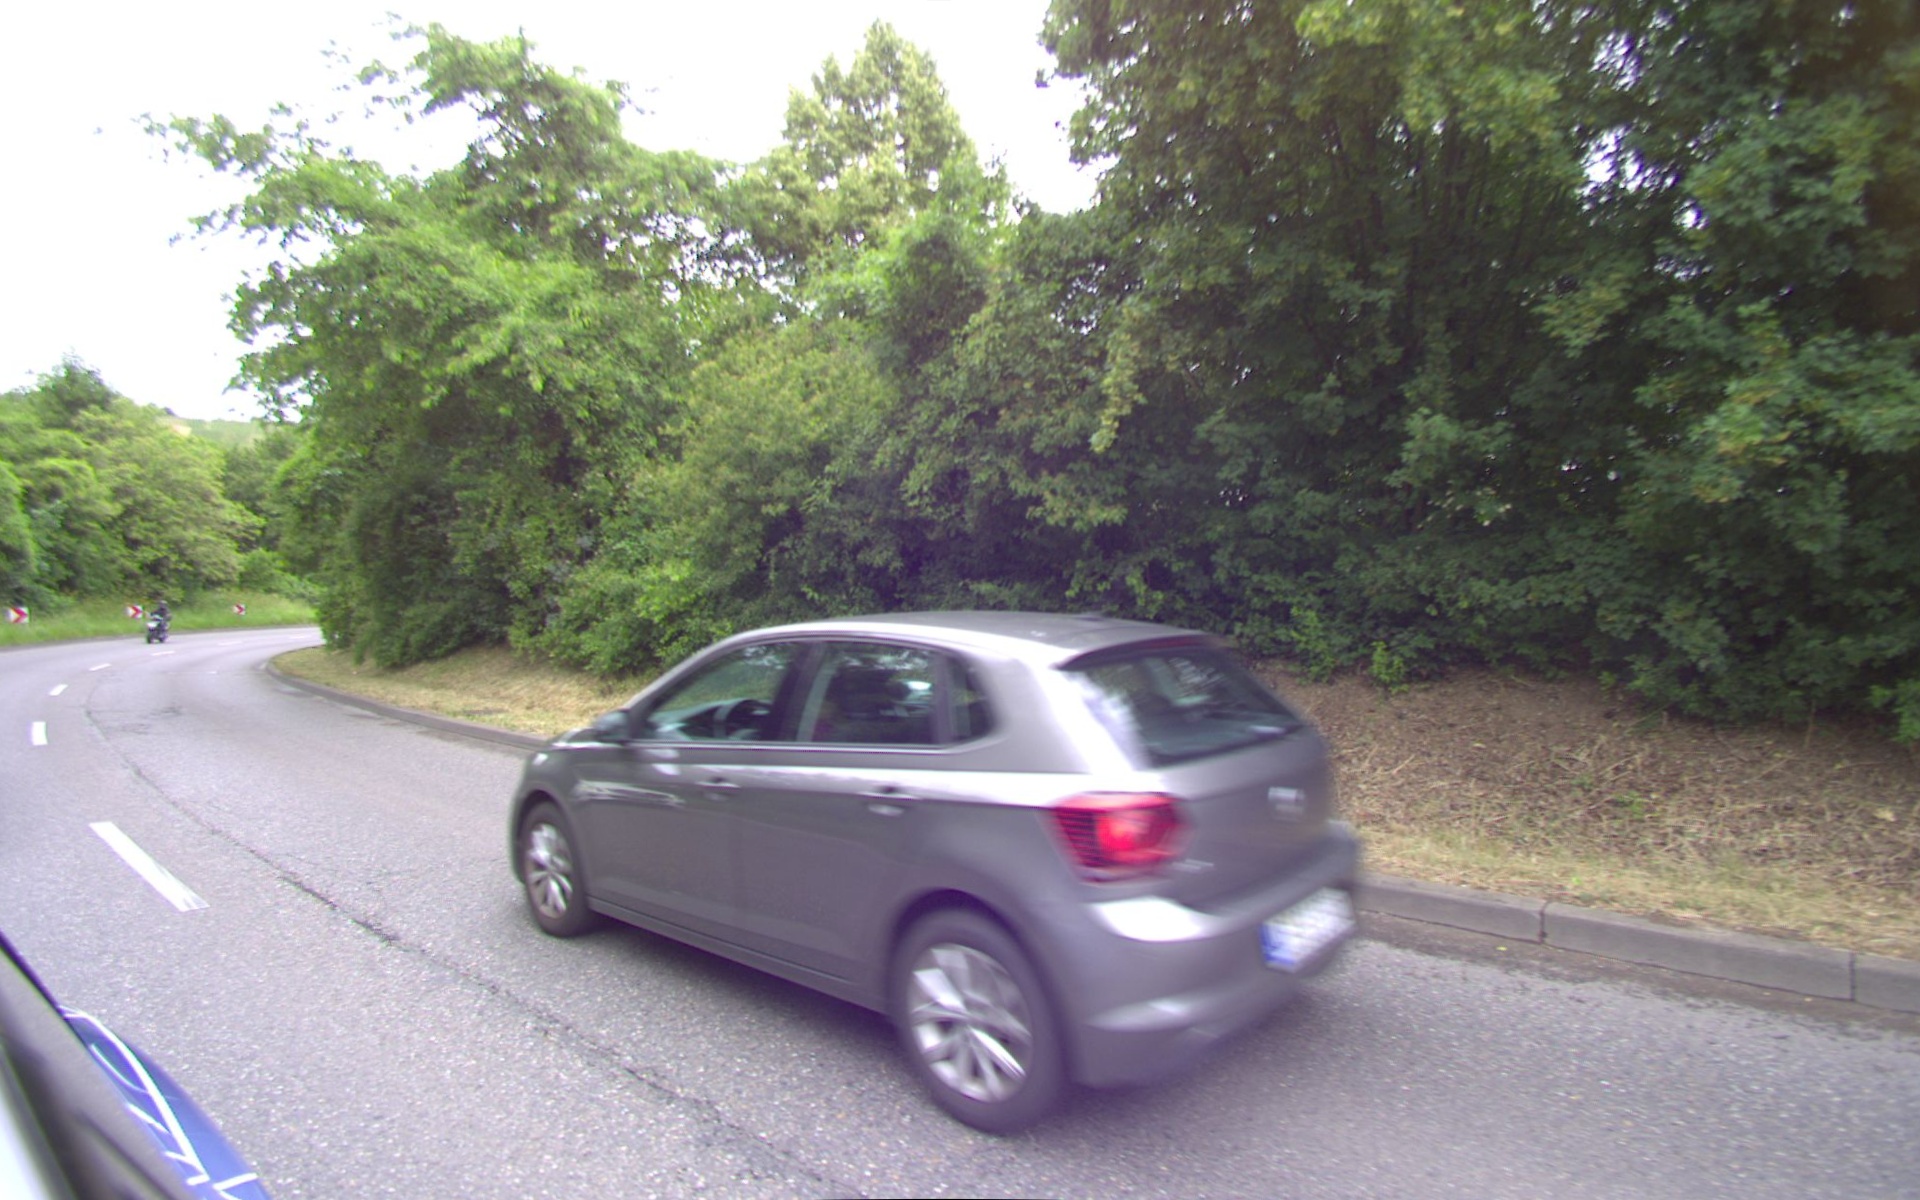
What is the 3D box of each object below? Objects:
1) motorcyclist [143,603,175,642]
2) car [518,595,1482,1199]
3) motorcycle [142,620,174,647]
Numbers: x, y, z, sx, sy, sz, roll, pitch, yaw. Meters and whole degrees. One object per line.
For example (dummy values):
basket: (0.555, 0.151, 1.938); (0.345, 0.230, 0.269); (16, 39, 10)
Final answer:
motorcyclist: (-31.605, 0.890, 39.945); (0.805, 1.477, 0.789); (3, -2, -30)
car: (-0.130, 0.719, 3.985); (3.596, 1.416, 1.616); (-1, -1, 42)
motorcycle: (-31.592, 1.304, 39.878); (0.691, 0.983, 1.700); (3, -2, -30)
